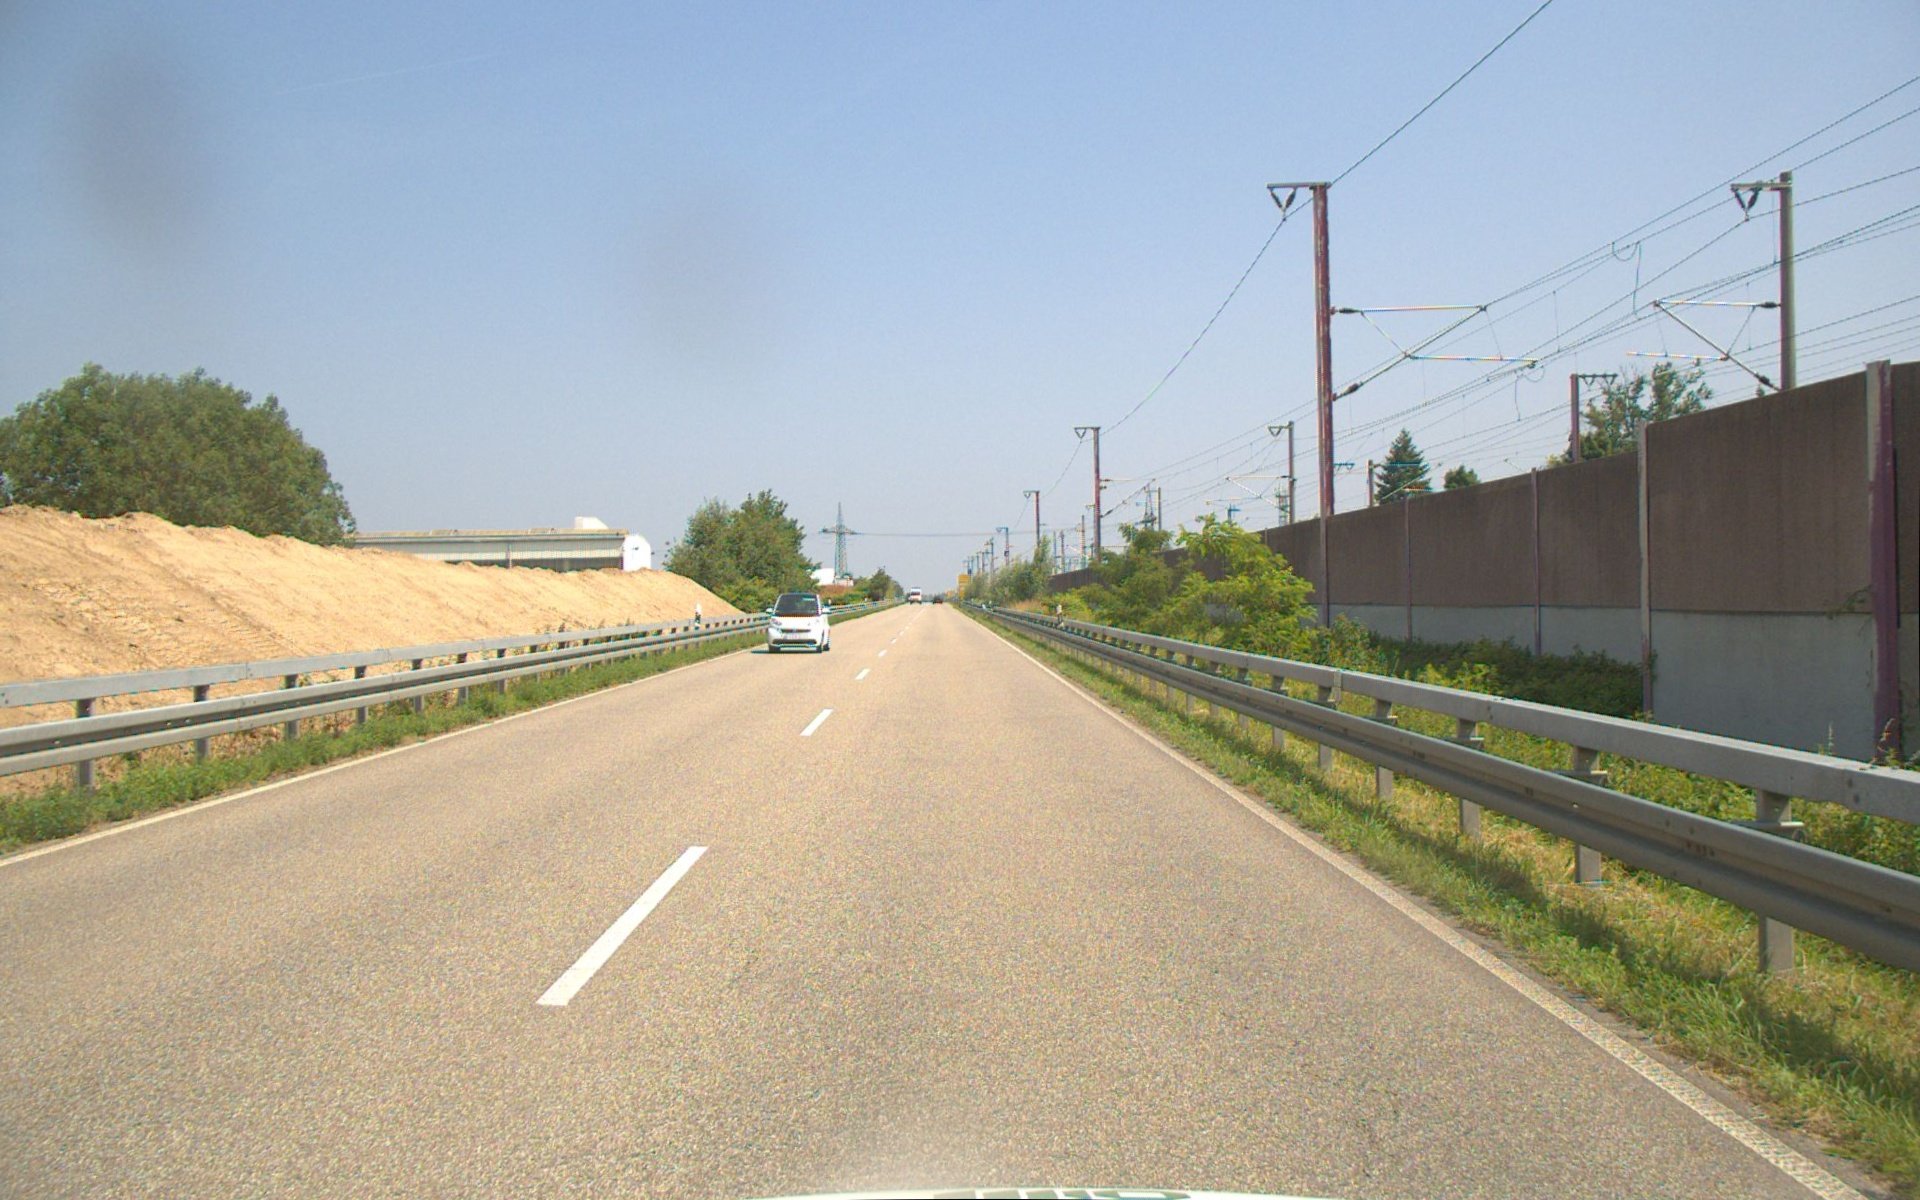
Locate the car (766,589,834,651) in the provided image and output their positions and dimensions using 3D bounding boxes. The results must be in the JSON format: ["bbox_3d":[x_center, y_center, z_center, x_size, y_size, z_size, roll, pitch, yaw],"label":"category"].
[{"bbox_3d":[-4.310,0.503,44.980,1.563,1.603,3.827,0,0,-2],"label":"car"}]
